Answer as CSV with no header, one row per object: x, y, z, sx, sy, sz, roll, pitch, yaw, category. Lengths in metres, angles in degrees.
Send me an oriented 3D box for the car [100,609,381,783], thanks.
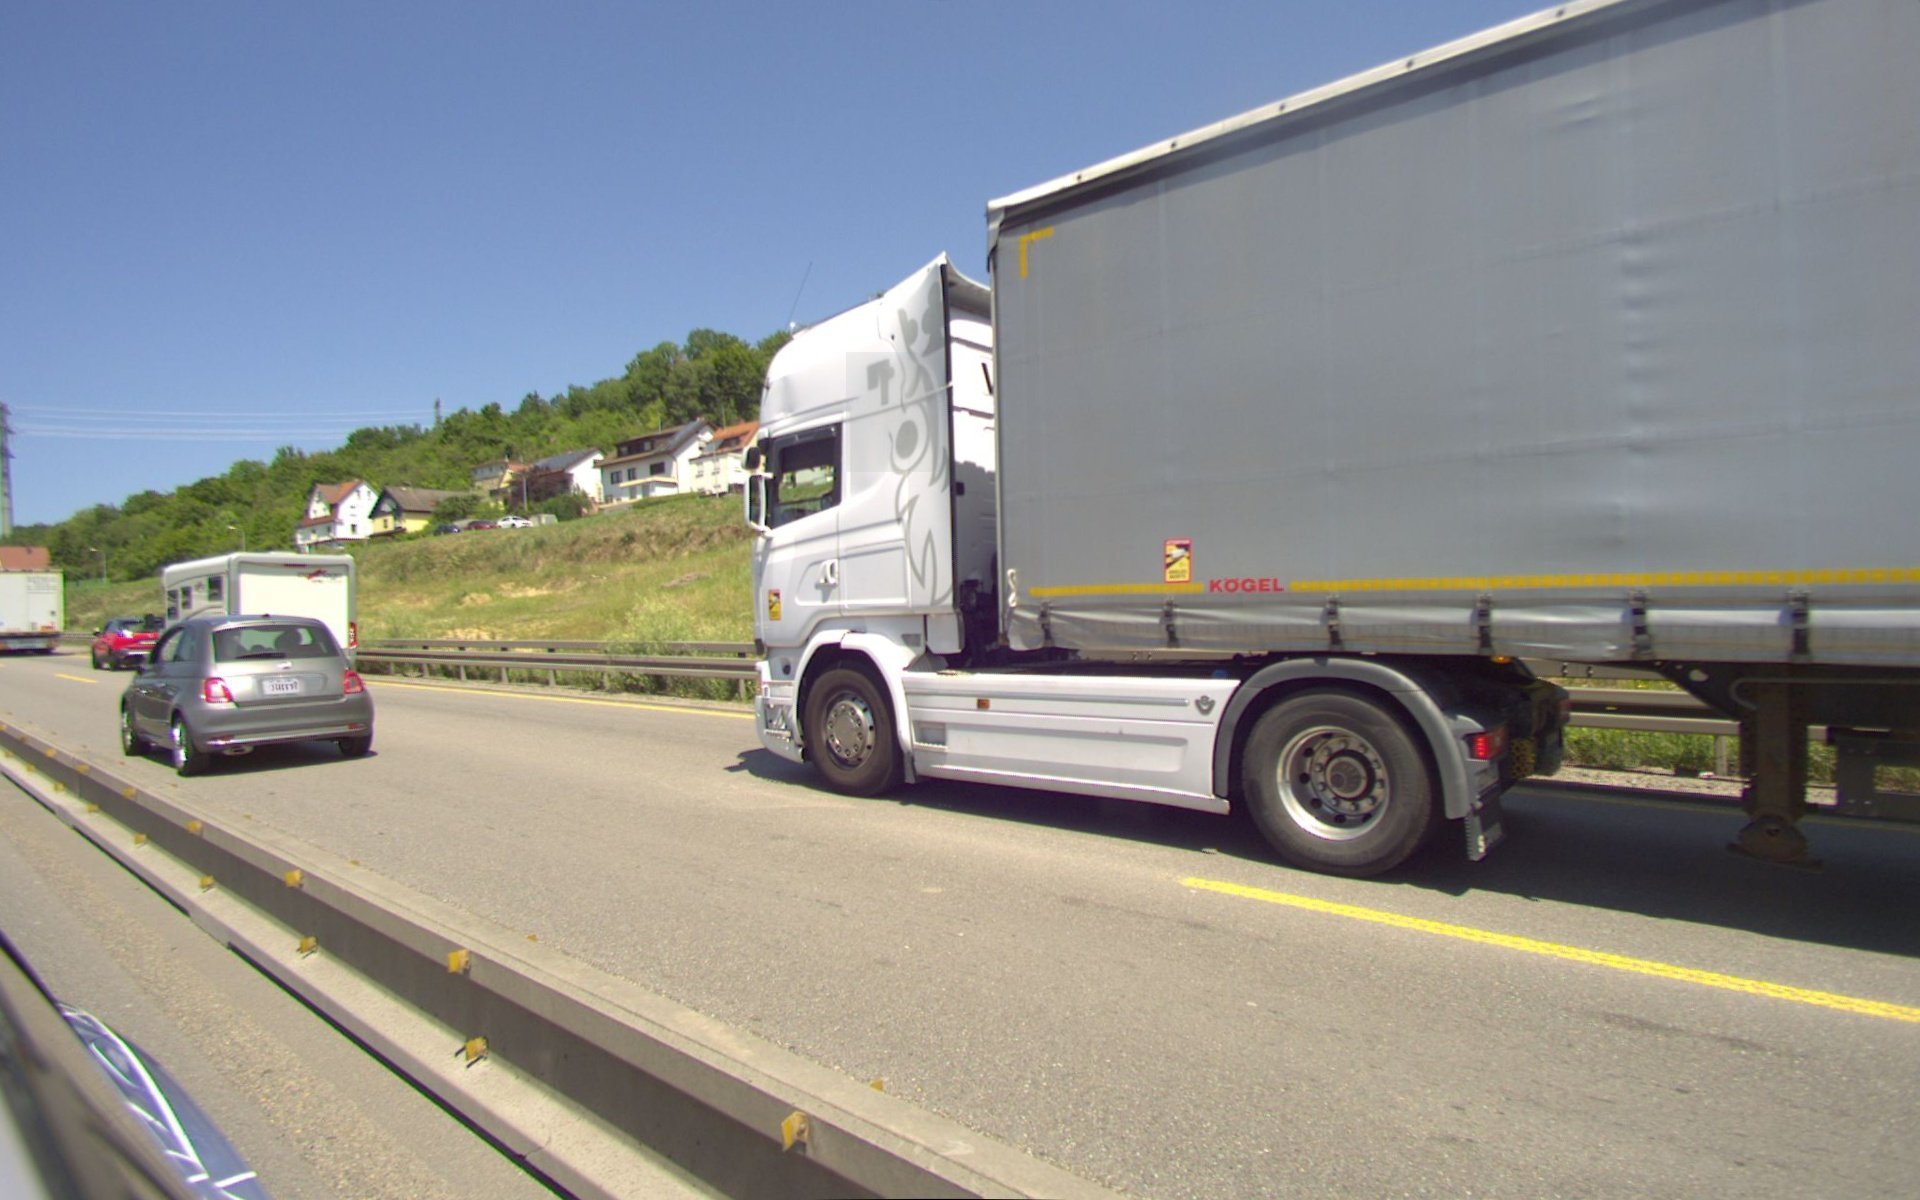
-7.586,0.882,10.573,3.377,1.490,1.612,-2,-1,40,car

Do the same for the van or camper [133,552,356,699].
-16.204,0.571,22.681,7.512,2.798,2.310,-2,-1,41,van or camper

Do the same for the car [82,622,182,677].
-25.756,1.499,31.443,4.261,1.563,1.699,-2,-1,41,car

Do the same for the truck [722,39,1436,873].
0.747,-0.717,7.810,4.673,4.319,2.746,-2,-1,40,truck

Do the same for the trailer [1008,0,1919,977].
6.556,-0.871,2.824,14.025,4.319,2.782,-2,-1,41,trailer

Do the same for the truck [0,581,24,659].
-53.259,1.148,55.164,4.595,4.155,2.792,-2,-1,41,truck

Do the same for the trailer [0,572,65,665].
-47.431,0.982,50.139,13.428,4.155,2.827,-2,-1,41,trailer
